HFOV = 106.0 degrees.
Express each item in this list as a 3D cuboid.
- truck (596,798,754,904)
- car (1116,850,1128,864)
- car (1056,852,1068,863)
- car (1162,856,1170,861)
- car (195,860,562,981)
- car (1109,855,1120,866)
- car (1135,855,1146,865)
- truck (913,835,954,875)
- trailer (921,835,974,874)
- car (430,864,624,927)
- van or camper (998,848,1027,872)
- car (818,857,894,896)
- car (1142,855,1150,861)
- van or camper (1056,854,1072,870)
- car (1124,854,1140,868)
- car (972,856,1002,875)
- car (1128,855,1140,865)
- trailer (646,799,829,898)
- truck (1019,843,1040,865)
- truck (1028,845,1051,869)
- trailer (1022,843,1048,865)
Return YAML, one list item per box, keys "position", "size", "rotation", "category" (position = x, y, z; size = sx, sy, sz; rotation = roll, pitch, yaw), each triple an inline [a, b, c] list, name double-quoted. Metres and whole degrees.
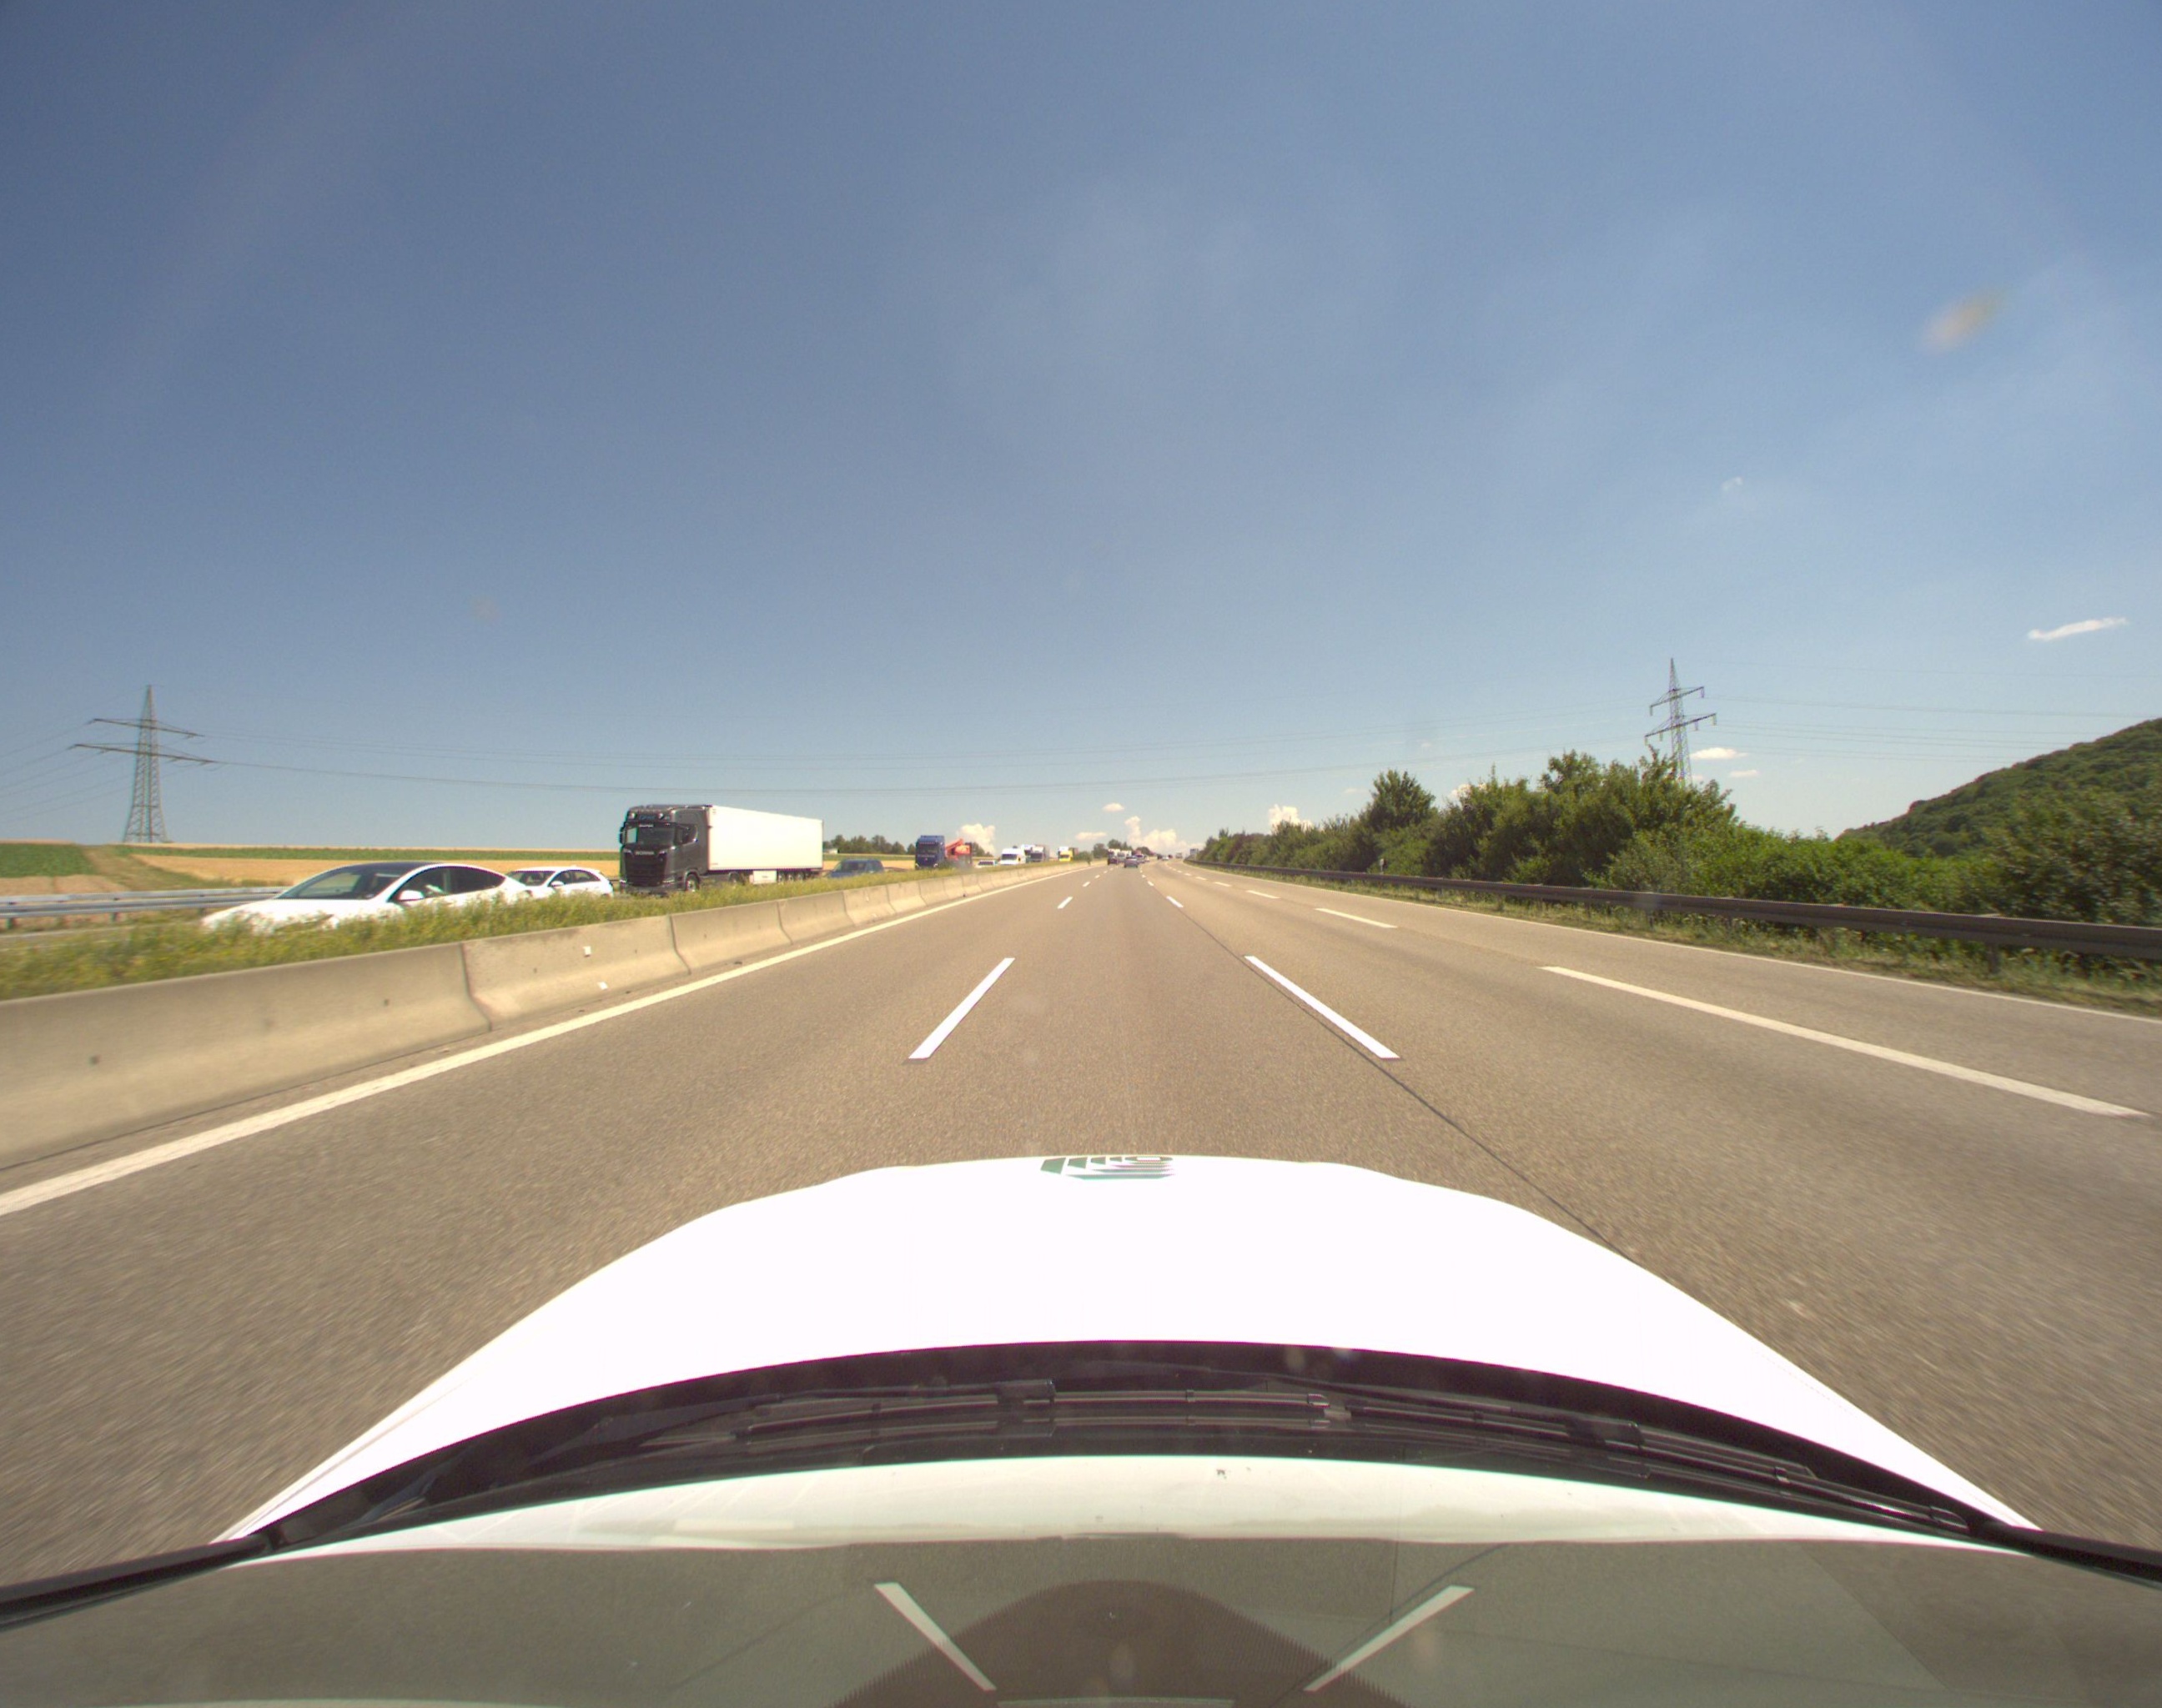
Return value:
- position: [-17.795, -0.115, 36.378]
  size: [3.213, 4.206, 7.131]
  rotation: [-1, 0, 3]
  category: "truck"
- position: [8.405, 0.720, 165.747]
  size: [2.168, 2.625, 4.680]
  rotation: [-1, -3, 7]
  category: "car"
- position: [-4.581, 0.898, 198.426]
  size: [2.319, 2.558, 5.615]
  rotation: [-1, 1, 6]
  category: "car"
- position: [24.008, 1.161, 229.770]
  size: [1.891, 1.442, 4.010]
  rotation: [-1, 0, 9]
  category: "car"
- position: [-10.852, 0.907, 13.180]
  size: [1.872, 1.571, 4.590]
  rotation: [0, 0, 2]
  category: "car"
- position: [5.999, 1.086, 144.877]
  size: [1.839, 1.861, 4.210]
  rotation: [-1, 1, 4]
  category: "car"
- position: [12.110, 1.162, 165.743]
  size: [1.984, 1.904, 4.005]
  rotation: [-1, -3, 6]
  category: "car"
- position: [-15.086, 0.057, 83.869]
  size: [2.765, 3.938, 6.142]
  rotation: [-1, 0, 3]
  category: "truck"
- position: [-14.640, 0.077, 90.762]
  size: [2.826, 3.958, 13.741]
  rotation: [0, 0, 4]
  category: "trailer"
- position: [-14.349, 1.002, 21.491]
  size: [1.859, 1.456, 4.574]
  rotation: [0, -1, 2]
  category: "car"
- position: [-7.261, 0.641, 87.442]
  size: [2.059, 2.464, 7.525]
  rotation: [-2, -1, 3]
  category: "van or camper"
- position: [-10.239, 0.985, 37.499]
  size: [1.986, 1.667, 4.966]
  rotation: [0, 0, 2]
  category: "car"
- position: [16.000, 0.968, 200.519]
  size: [1.983, 1.552, 4.007]
  rotation: [1, 0, 6]
  category: "car"
- position: [-2.920, 1.389, 140.402]
  size: [2.075, 2.707, 6.146]
  rotation: [0, 0, 4]
  category: "van or camper"
- position: [6.793, 0.975, 108.674]
  size: [1.985, 1.750, 4.002]
  rotation: [0, -3, 3]
  category: "car"
- position: [-8.455, 1.014, 73.755]
  size: [1.919, 1.587, 5.671]
  rotation: [0, 0, 2]
  category: "car"
- position: [9.448, 1.073, 144.956]
  size: [1.986, 1.585, 4.002]
  rotation: [-1, -2, 2]
  category: "car"
- position: [-17.485, -0.218, 43.314]
  size: [3.229, 4.387, 14.037]
  rotation: [0, 0, 3]
  category: "trailer"
- position: [-9.462, 0.040, 149.546]
  size: [2.838, 4.027, 6.525]
  rotation: [-1, 0, 6]
  category: "truck"
- position: [-6.877, 0.470, 135.480]
  size: [2.923, 3.743, 7.787]
  rotation: [0, 0, 4]
  category: "truck"
- position: [-8.756, 0.059, 155.947]
  size: [2.779, 4.105, 14.029]
  rotation: [-1, 0, 6]
  category: "trailer"
